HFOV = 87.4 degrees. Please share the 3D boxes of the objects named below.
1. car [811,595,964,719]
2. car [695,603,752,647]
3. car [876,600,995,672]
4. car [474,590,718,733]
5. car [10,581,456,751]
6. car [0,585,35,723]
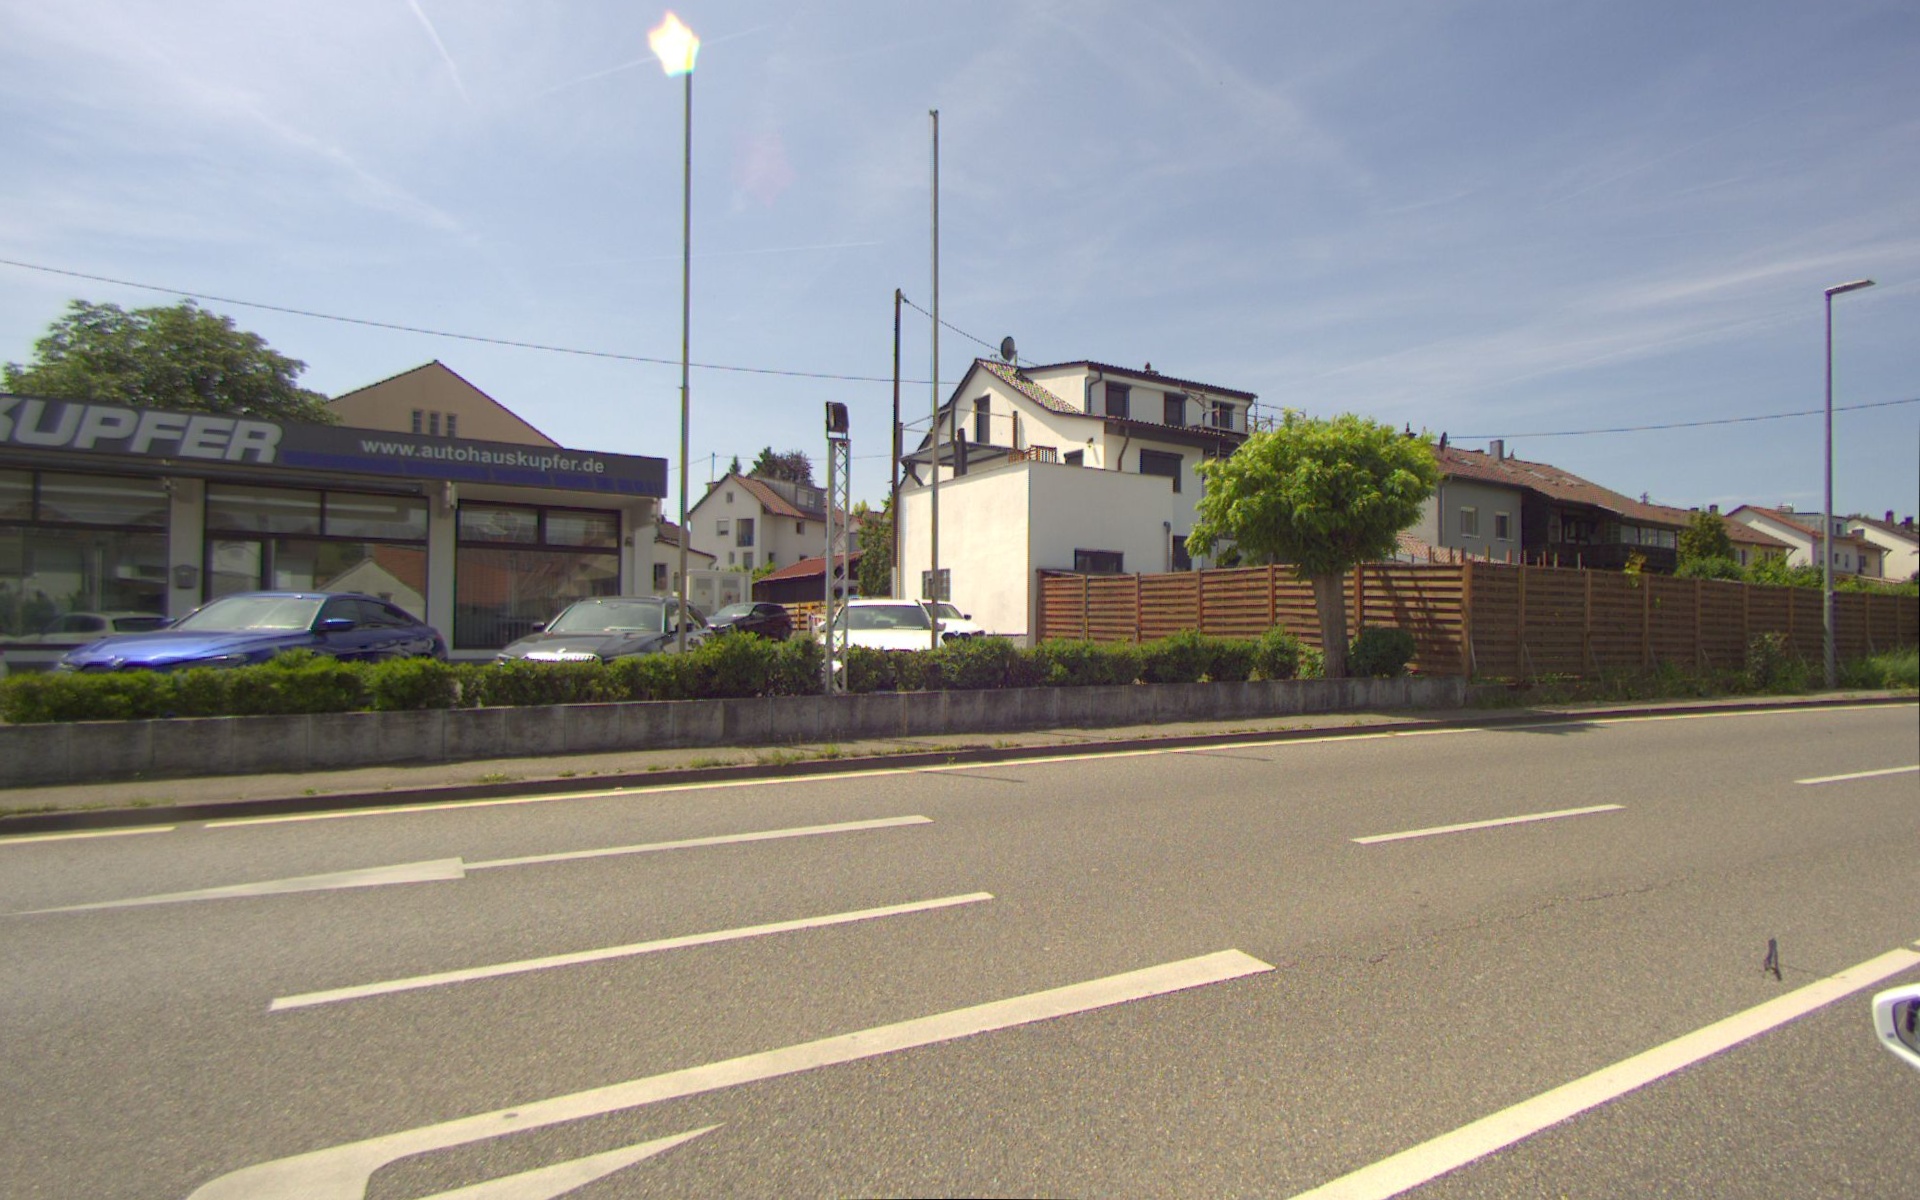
[{"bbox_3d":[-1.083,0.703,14.447,1.822,1.467,4.339,2,0,-5],"label":"car"},{"bbox_3d":[-8.377,0.830,35.368,1.685,1.420,3.985,1,0,-17],"label":"car"},{"bbox_3d":[-0.674,0.788,23.870,1.805,1.530,3.985,1,0,-17],"label":"car"},{"bbox_3d":[-4.394,0.665,12.892,1.863,1.467,4.339,2,0,-5],"label":"car"},{"bbox_3d":[-7.635,0.607,11.218,1.821,1.467,4.342,2,0,-1],"label":"car"},{"bbox_3d":[-11.133,0.558,8.792,1.820,1.467,4.516,1,0,2],"label":"car"}]
